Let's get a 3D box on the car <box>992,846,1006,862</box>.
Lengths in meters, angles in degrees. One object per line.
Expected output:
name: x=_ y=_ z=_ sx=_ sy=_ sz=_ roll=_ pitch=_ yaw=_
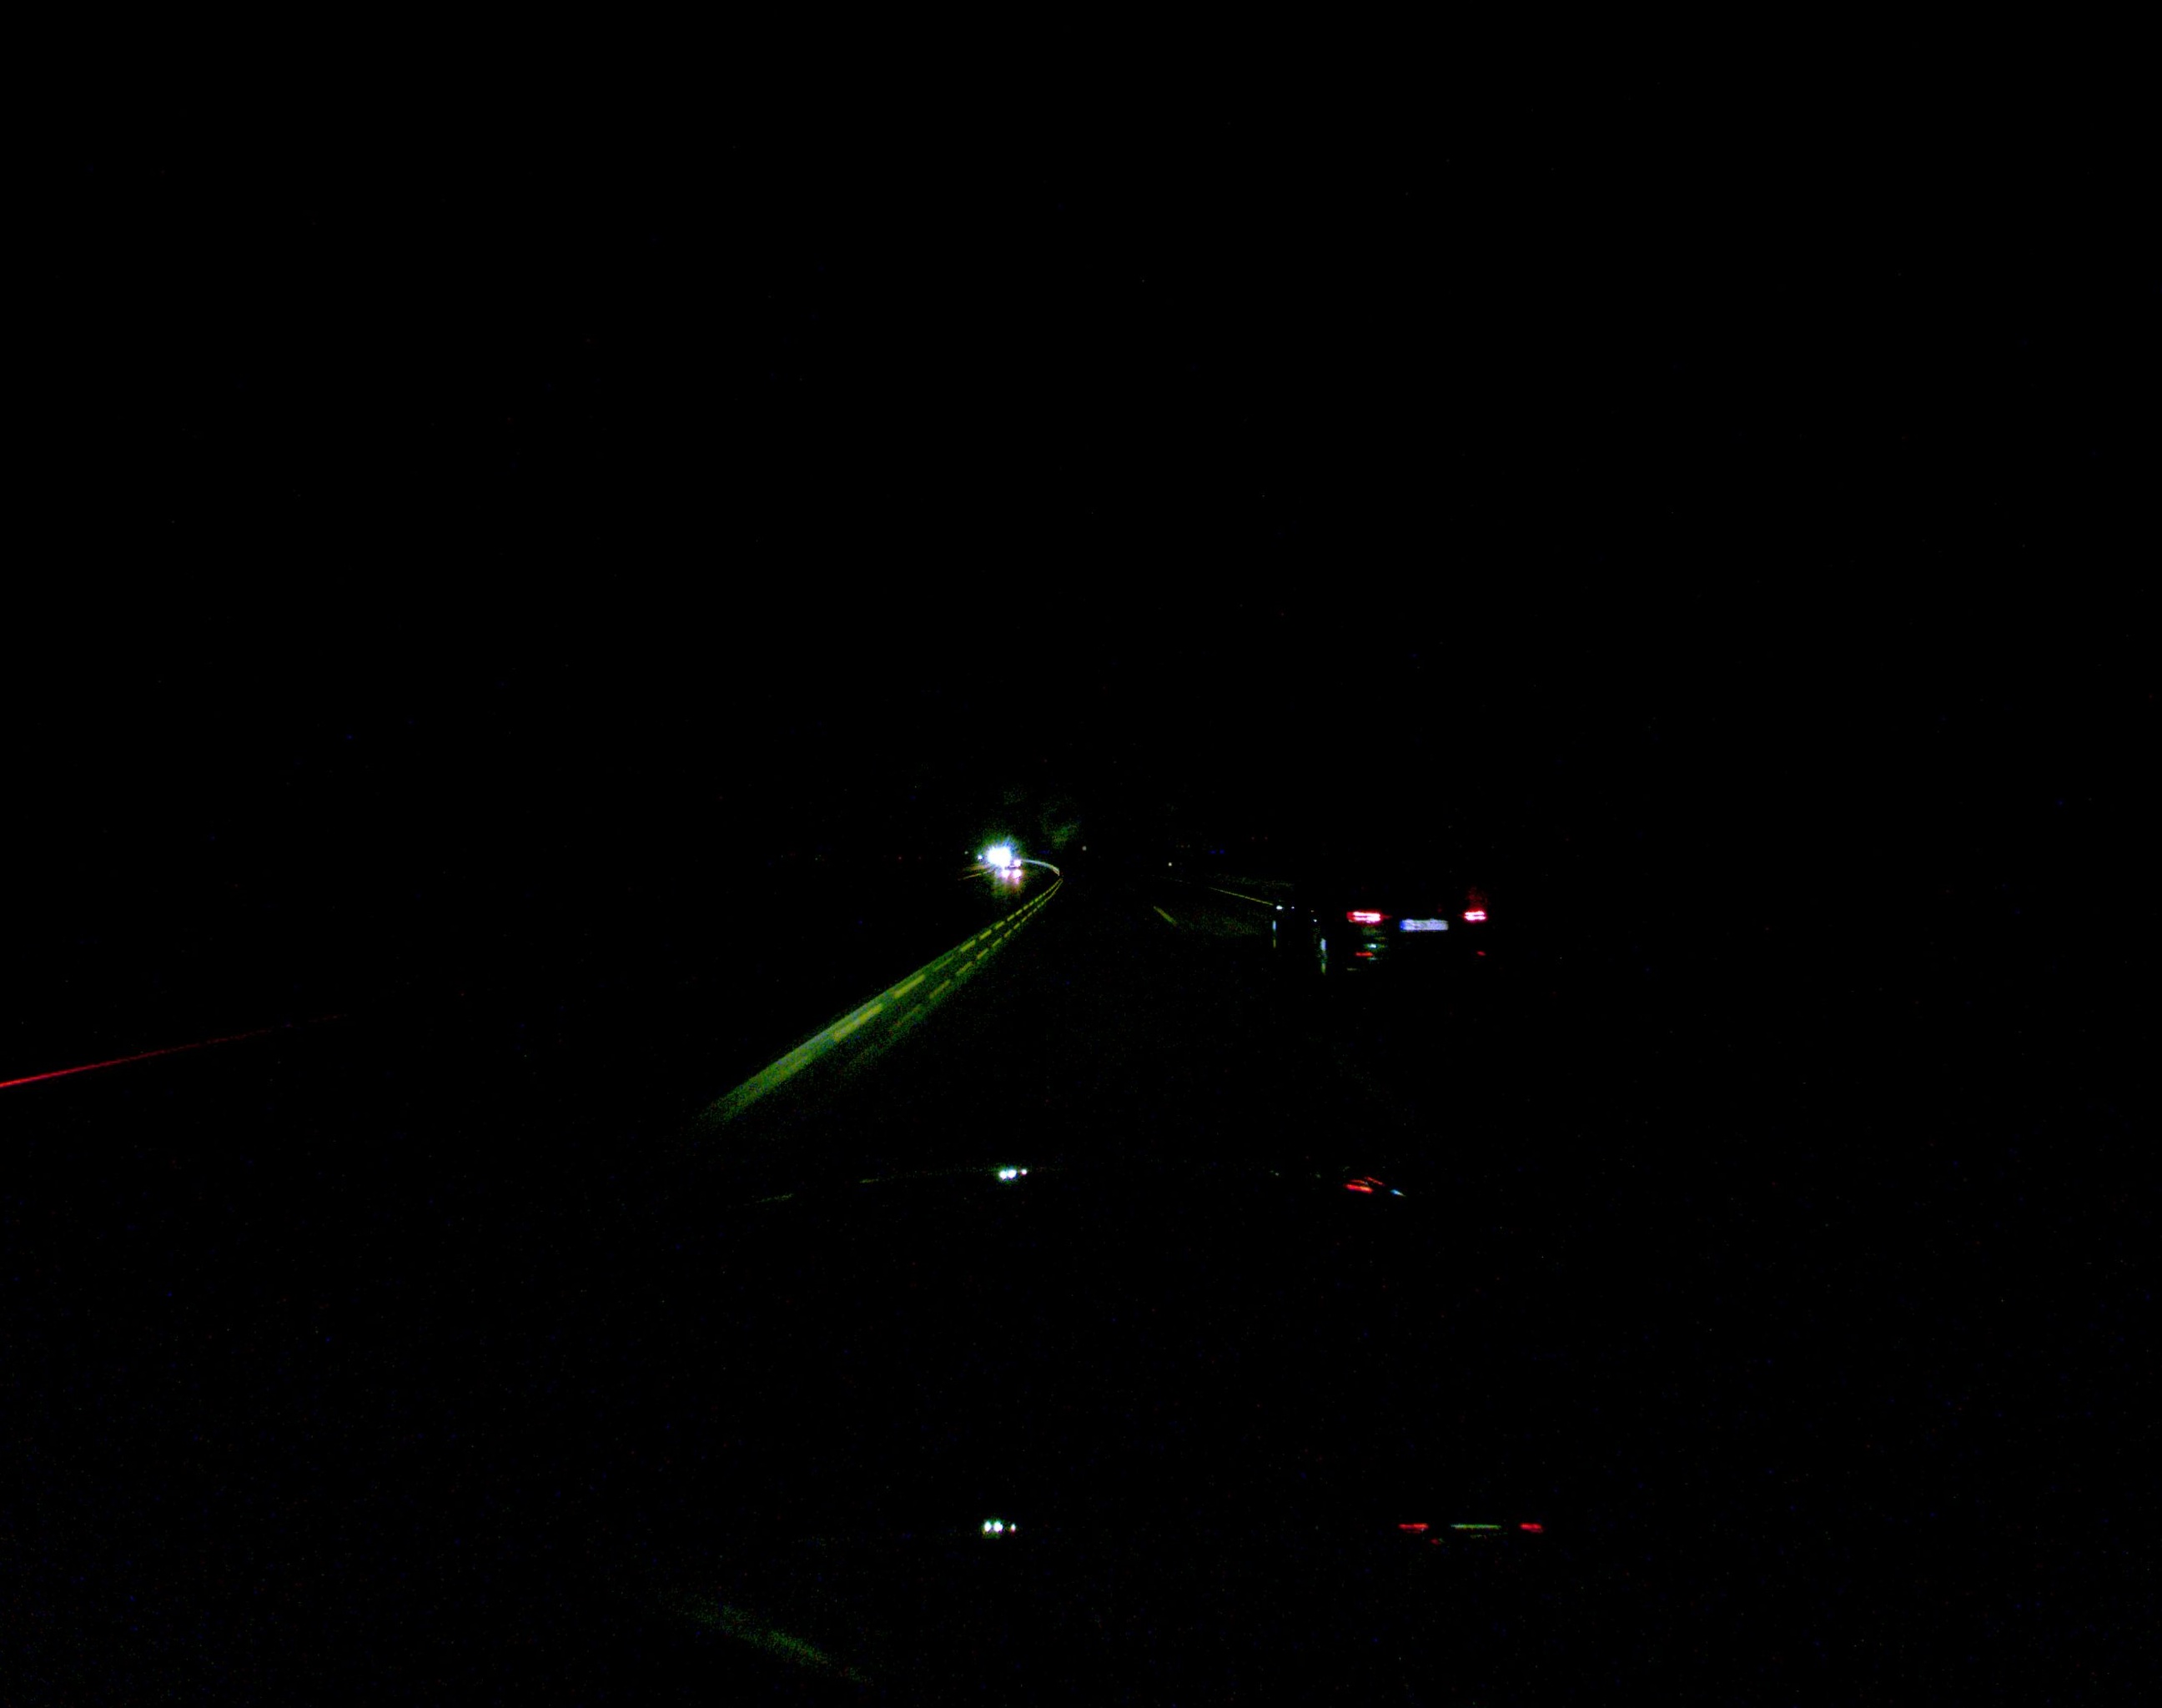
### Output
car: x=-16.947 y=0.046 z=168.053 sx=2.485 sy=3.105 sz=7.363 roll=-1 pitch=-1 yaw=-8

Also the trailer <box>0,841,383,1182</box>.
trailer: x=-6.197 y=0.776 z=4.284 sx=2.005 sy=1.639 sz=3.419 roll=-1 pitch=0 yaw=2

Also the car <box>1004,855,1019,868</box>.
car: x=-8.204 y=0.892 z=96.004 sx=1.682 sy=1.459 sz=4.191 roll=-1 pitch=0 yaw=-6

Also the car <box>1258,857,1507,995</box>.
car: x=3.727 y=0.780 z=11.081 sx=1.800 sy=1.426 sz=4.879 roll=-1 pitch=0 yaw=3
